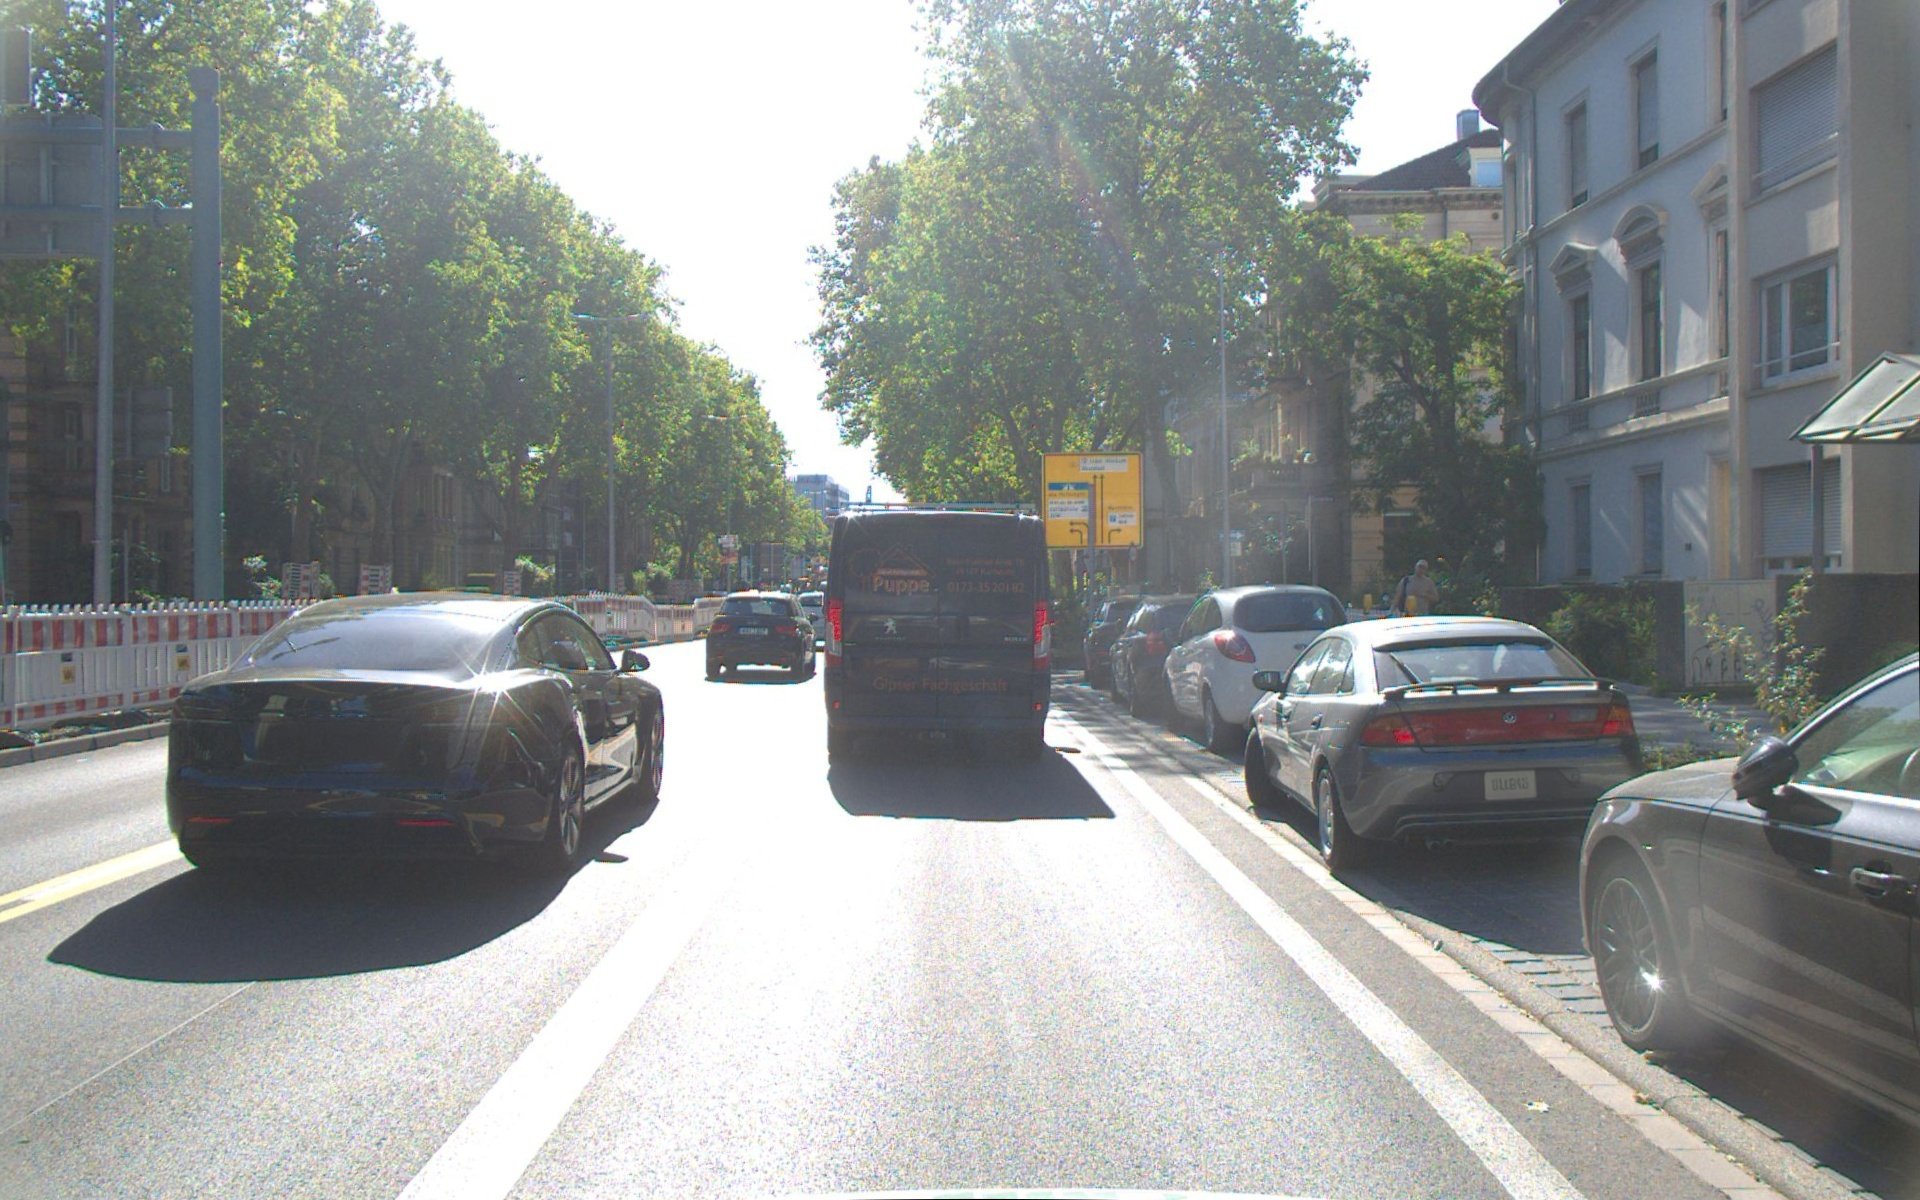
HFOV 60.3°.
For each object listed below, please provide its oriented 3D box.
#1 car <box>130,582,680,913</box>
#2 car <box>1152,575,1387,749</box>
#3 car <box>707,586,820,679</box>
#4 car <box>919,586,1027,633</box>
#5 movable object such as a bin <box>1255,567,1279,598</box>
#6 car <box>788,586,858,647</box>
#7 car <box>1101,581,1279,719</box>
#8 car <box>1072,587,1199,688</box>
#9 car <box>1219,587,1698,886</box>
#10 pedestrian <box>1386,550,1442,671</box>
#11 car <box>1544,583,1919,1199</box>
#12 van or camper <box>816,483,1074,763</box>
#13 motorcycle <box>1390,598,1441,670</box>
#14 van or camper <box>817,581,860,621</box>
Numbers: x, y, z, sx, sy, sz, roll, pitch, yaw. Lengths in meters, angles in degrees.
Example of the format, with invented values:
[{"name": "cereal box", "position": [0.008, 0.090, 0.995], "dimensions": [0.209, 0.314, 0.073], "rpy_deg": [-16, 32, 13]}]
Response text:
[{"name": "car", "position": [-2.908, 0.670, 9.793], "dimensions": [1.800, 1.509, 4.475], "rpy_deg": [0, 0, -1]}, {"name": "car", "position": [3.018, 0.551, 16.821], "dimensions": [1.587, 1.512, 3.733], "rpy_deg": [-2, 0, -1]}, {"name": "car", "position": [-3.400, 0.527, 29.124], "dimensions": [1.587, 1.512, 3.733], "rpy_deg": [1, 0, -1]}, {"name": "car", "position": [0.520, 0.371, 66.965], "dimensions": [3.925, 1.595, 1.770], "rpy_deg": [5, -1, -18]}, {"name": "movable object such as a bin", "position": [9.878, -0.567, 53.280], "dimensions": [0.673, 0.987, 0.548], "rpy_deg": [-1, 0, 1]}, {"name": "car", "position": [-3.550, 0.398, 43.342], "dimensions": [1.587, 1.512, 3.733], "rpy_deg": [1, 0, -1]}, {"name": "car", "position": [2.810, 0.567, 21.002], "dimensions": [1.587, 1.512, 4.056], "rpy_deg": [-2, 0, -1]}, {"name": "car", "position": [2.860, 0.582, 27.739], "dimensions": [1.587, 1.512, 4.096], "rpy_deg": [-2, 0, -1]}, {"name": "car", "position": [2.830, 0.681, 10.349], "dimensions": [1.681, 1.437, 4.048], "rpy_deg": [-2, 0, -1]}, {"name": "pedestrian", "position": [7.235, 0.161, 26.361], "dimensions": [0.651, 1.881, 0.694], "rpy_deg": [-1, 0, -1]}, {"name": "car", "position": [3.092, 0.697, 3.959], "dimensions": [1.681, 1.437, 4.475], "rpy_deg": [-3, 0, -1]}, {"name": "van or camper", "position": [-0.207, 0.195, 16.418], "dimensions": [2.200, 2.387, 4.535], "rpy_deg": [0, 0, -2]}, {"name": "motorcycle", "position": [7.881, 0.579, 28.651], "dimensions": [0.584, 1.207, 1.556], "rpy_deg": [0, 0, 6]}, {"name": "van or camper", "position": [-6.683, 0.068, 91.461], "dimensions": [1.953, 2.049, 5.328], "rpy_deg": [-3, 0, -1]}]
